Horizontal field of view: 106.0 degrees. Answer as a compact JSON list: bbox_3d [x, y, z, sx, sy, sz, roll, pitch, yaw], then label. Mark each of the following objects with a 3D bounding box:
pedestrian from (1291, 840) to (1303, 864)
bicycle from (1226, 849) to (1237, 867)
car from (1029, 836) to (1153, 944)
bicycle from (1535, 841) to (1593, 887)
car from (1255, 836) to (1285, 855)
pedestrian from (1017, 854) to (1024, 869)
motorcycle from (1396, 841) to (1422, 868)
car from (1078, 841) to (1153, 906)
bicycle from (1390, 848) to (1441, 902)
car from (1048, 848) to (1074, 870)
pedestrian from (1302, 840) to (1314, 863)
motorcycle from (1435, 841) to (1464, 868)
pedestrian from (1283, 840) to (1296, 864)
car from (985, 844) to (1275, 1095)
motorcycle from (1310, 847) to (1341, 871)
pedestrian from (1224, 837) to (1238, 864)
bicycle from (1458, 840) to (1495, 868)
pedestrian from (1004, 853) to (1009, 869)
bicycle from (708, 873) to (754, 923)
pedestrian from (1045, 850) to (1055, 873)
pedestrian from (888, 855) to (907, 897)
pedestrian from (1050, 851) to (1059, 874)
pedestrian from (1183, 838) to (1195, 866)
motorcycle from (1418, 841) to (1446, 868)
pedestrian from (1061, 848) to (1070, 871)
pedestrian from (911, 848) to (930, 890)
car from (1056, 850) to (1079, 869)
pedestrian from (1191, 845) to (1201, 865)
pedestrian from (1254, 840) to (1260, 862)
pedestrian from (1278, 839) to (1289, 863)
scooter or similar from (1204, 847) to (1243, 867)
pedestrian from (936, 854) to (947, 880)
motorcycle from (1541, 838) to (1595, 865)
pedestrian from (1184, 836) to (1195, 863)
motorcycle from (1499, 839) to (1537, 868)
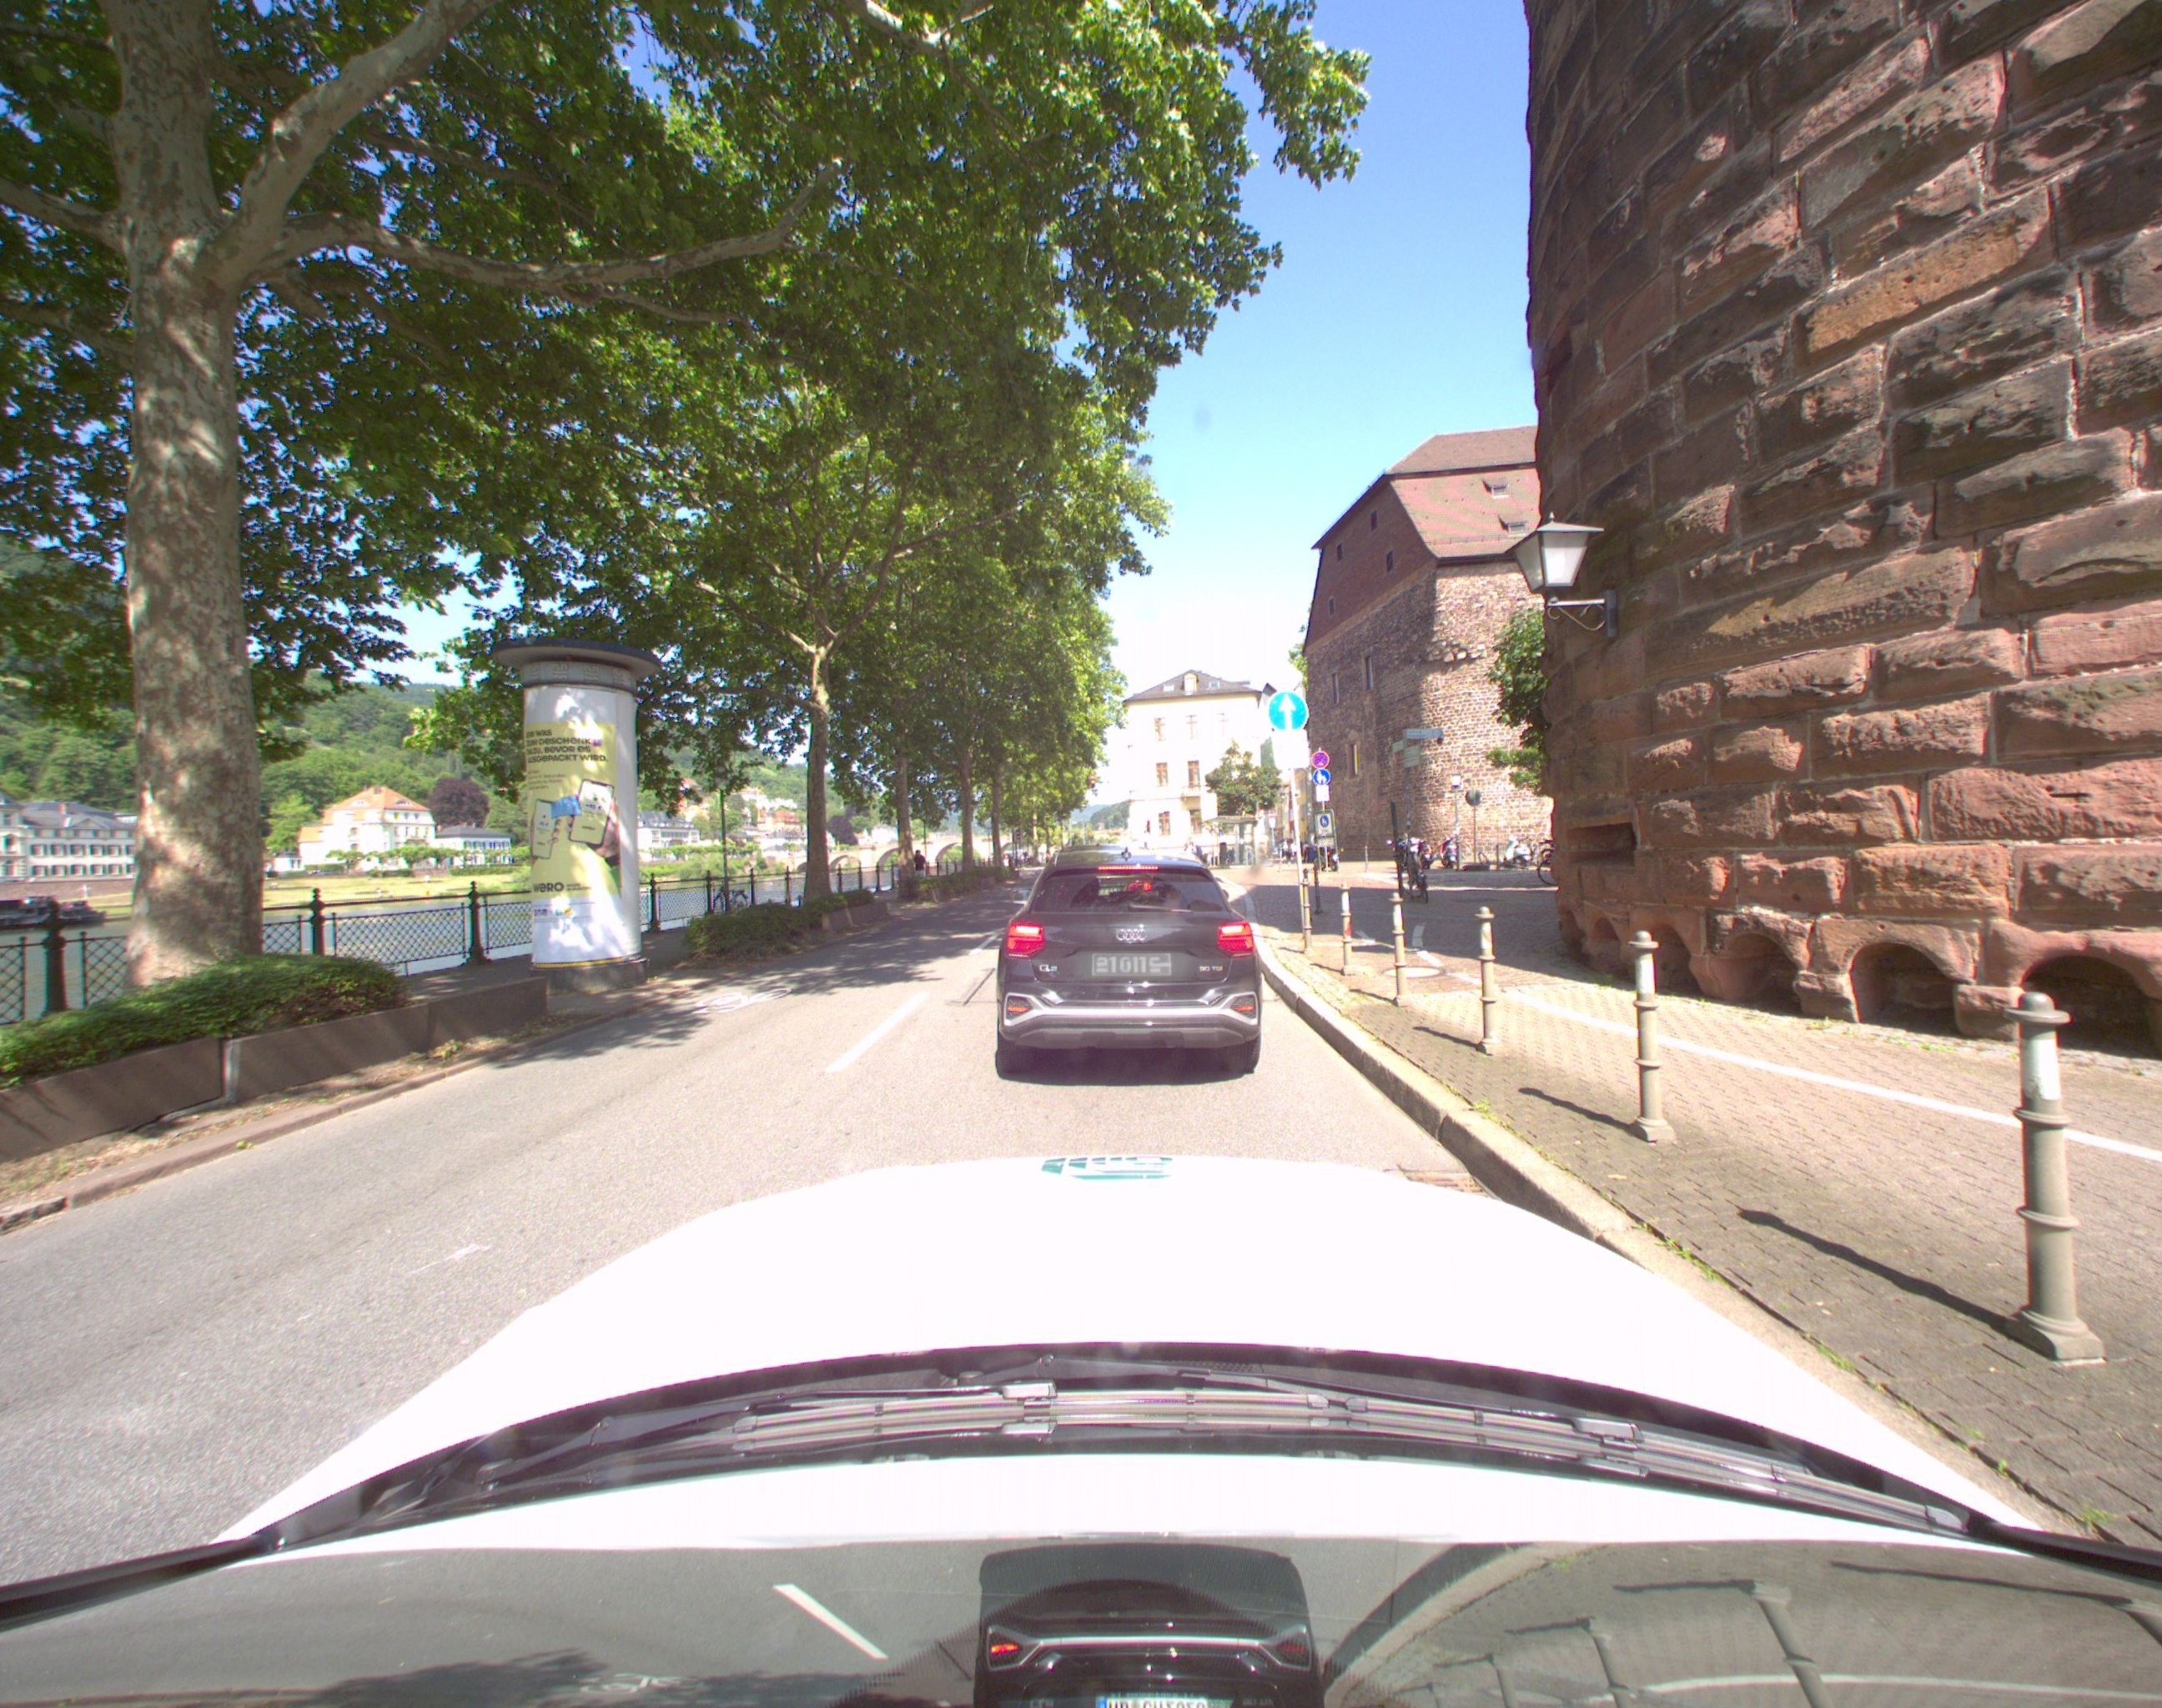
[{"bbox_3d":[14.290,-0.133,53.948,0.655,1.517,0.548,0,0,3],"label":"pedestrian"},{"bbox_3d":[8.695,0.227,47.166,0.449,0.974,1.400,0,0,2],"label":"bicycle"},{"bbox_3d":[0.212,0.528,13.704,1.794,1.562,3.718,0,0,2],"label":"car"},{"bbox_3d":[11.494,0.225,19.446,0.493,1.030,2.056,0,0,10],"label":"bicycle"},{"bbox_3d":[17.465,-0.735,75.553,1.986,1.716,4.001,0,0,2],"label":"car"},{"bbox_3d":[-5.205,0.646,70.113,0.588,1.278,0.525,0,0,2],"label":"pedestrian"},{"bbox_3d":[11.968,0.021,29.763,0.434,0.973,1.359,0,0,2],"label":"motorcycle"},{"bbox_3d":[0.940,0.479,22.278,1.794,1.523,3.718,-4,0,2],"label":"car"},{"bbox_3d":[6.854,0.409,16.777,0.493,1.030,2.056,-3,0,10],"label":"bicycle"},{"bbox_3d":[-1.512,0.363,62.673,1.608,1.523,3.480,-4,0,3],"label":"car"},{"bbox_3d":[15.006,-0.152,53.925,0.655,1.517,0.627,0,0,3],"label":"pedestrian"},{"bbox_3d":[13.619,0.011,30.148,0.456,0.973,1.467,0,0,2],"label":"motorcycle"},{"bbox_3d":[12.830,-0.120,50.128,0.655,1.493,0.548,0,0,3],"label":"pedestrian"},{"bbox_3d":[0.323,0.690,6.749,1.742,1.494,3.629,-1,0,1],"label":"car"},{"bbox_3d":[9.027,0.165,30.114,0.482,0.818,2.281,-4,0,2],"label":"motorcycle"},{"bbox_3d":[8.905,-0.217,48.402,0.744,1.557,0.589,-1,0,2],"label":"pedestrian"},{"bbox_3d":[14.197,0.002,29.271,0.402,0.989,1.825,0,0,-1],"label":"bicycle"},{"bbox_3d":[-6.646,0.654,72.916,0.407,1.425,0.457,0,0,0],"label":"pedestrian"},{"bbox_3d":[-8.933,1.102,20.841,0.356,1.162,1.825,-4,0,-1],"label":"bicycle"},{"bbox_3d":[-2.137,0.532,56.276,0.542,1.600,0.662,0,0,13],"label":"pedestrian"},{"bbox_3d":[-7.597,0.890,33.775,0.643,1.717,0.665,0,0,-1],"label":"pedestrian"},{"bbox_3d":[-1.879,0.608,57.182,0.555,1.557,0.660,-1,0,3],"label":"pedestrian"},{"bbox_3d":[6.058,-0.114,45.736,0.555,1.557,0.660,-1,0,3],"label":"pedestrian"},{"bbox_3d":[12.810,0.015,29.765,0.456,0.973,1.467,0,0,2],"label":"motorcycle"},{"bbox_3d":[-1.089,0.389,55.872,0.555,1.557,0.660,-1,0,3],"label":"pedestrian"},{"bbox_3d":[-6.866,0.648,34.857,0.562,1.741,0.665,-4,0,-1],"label":"pedestrian"},{"bbox_3d":[-1.126,0.476,70.022,1.608,1.523,3.480,-4,0,3],"label":"car"},{"bbox_3d":[6.822,0.052,48.237,0.544,1.201,0.523,0,0,3],"label":"pedestrian"},{"bbox_3d":[13.212,-0.224,61.199,0.368,1.634,0.470,0,0,19],"label":"pedestrian"},{"bbox_3d":[14.026,-0.231,56.416,0.544,1.634,0.660,0,0,-1],"label":"pedestrian"},{"bbox_3d":[6.955,0.145,39.735,1.838,0.963,0.429,0,0,1],"label":"scooter or similar"},{"bbox_3d":[-8.384,0.781,48.931,0.496,1.537,0.678,-4,0,-5],"label":"pedestrian"},{"bbox_3d":[18.557,-0.098,31.051,1.683,1.019,0.502,0,0,14],"label":"motorcycle"},{"bbox_3d":[6.526,-0.268,48.945,0.555,1.633,0.660,-1,0,3],"label":"pedestrian"},{"bbox_3d":[15.561,-0.025,29.028,0.496,1.019,1.702,0,0,2],"label":"motorcycle"}]
